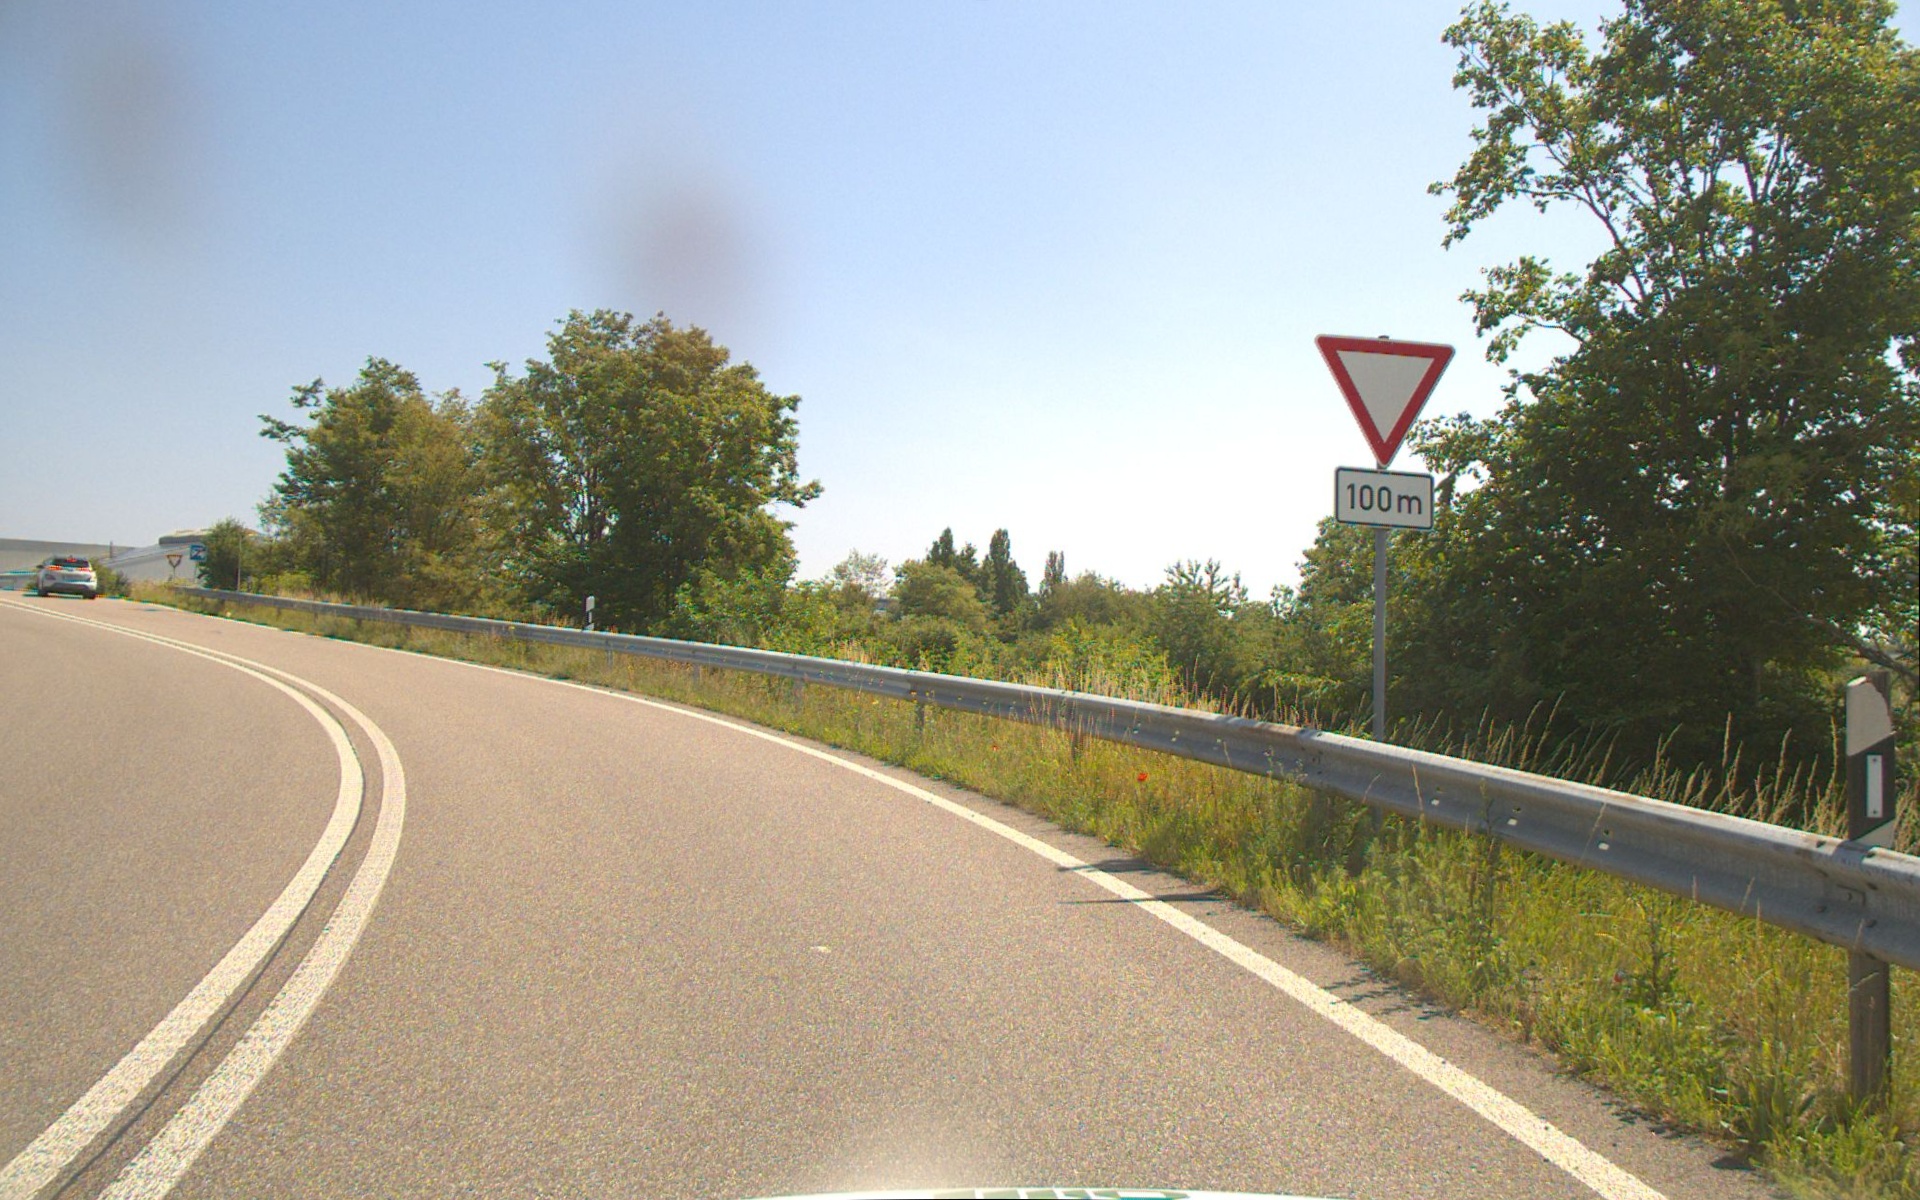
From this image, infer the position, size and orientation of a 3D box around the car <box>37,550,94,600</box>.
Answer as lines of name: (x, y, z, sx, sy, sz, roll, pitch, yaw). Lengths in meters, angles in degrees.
car: (-33.881, -0.916, 62.656, 1.788, 1.721, 3.962, 2, -2, -29)
